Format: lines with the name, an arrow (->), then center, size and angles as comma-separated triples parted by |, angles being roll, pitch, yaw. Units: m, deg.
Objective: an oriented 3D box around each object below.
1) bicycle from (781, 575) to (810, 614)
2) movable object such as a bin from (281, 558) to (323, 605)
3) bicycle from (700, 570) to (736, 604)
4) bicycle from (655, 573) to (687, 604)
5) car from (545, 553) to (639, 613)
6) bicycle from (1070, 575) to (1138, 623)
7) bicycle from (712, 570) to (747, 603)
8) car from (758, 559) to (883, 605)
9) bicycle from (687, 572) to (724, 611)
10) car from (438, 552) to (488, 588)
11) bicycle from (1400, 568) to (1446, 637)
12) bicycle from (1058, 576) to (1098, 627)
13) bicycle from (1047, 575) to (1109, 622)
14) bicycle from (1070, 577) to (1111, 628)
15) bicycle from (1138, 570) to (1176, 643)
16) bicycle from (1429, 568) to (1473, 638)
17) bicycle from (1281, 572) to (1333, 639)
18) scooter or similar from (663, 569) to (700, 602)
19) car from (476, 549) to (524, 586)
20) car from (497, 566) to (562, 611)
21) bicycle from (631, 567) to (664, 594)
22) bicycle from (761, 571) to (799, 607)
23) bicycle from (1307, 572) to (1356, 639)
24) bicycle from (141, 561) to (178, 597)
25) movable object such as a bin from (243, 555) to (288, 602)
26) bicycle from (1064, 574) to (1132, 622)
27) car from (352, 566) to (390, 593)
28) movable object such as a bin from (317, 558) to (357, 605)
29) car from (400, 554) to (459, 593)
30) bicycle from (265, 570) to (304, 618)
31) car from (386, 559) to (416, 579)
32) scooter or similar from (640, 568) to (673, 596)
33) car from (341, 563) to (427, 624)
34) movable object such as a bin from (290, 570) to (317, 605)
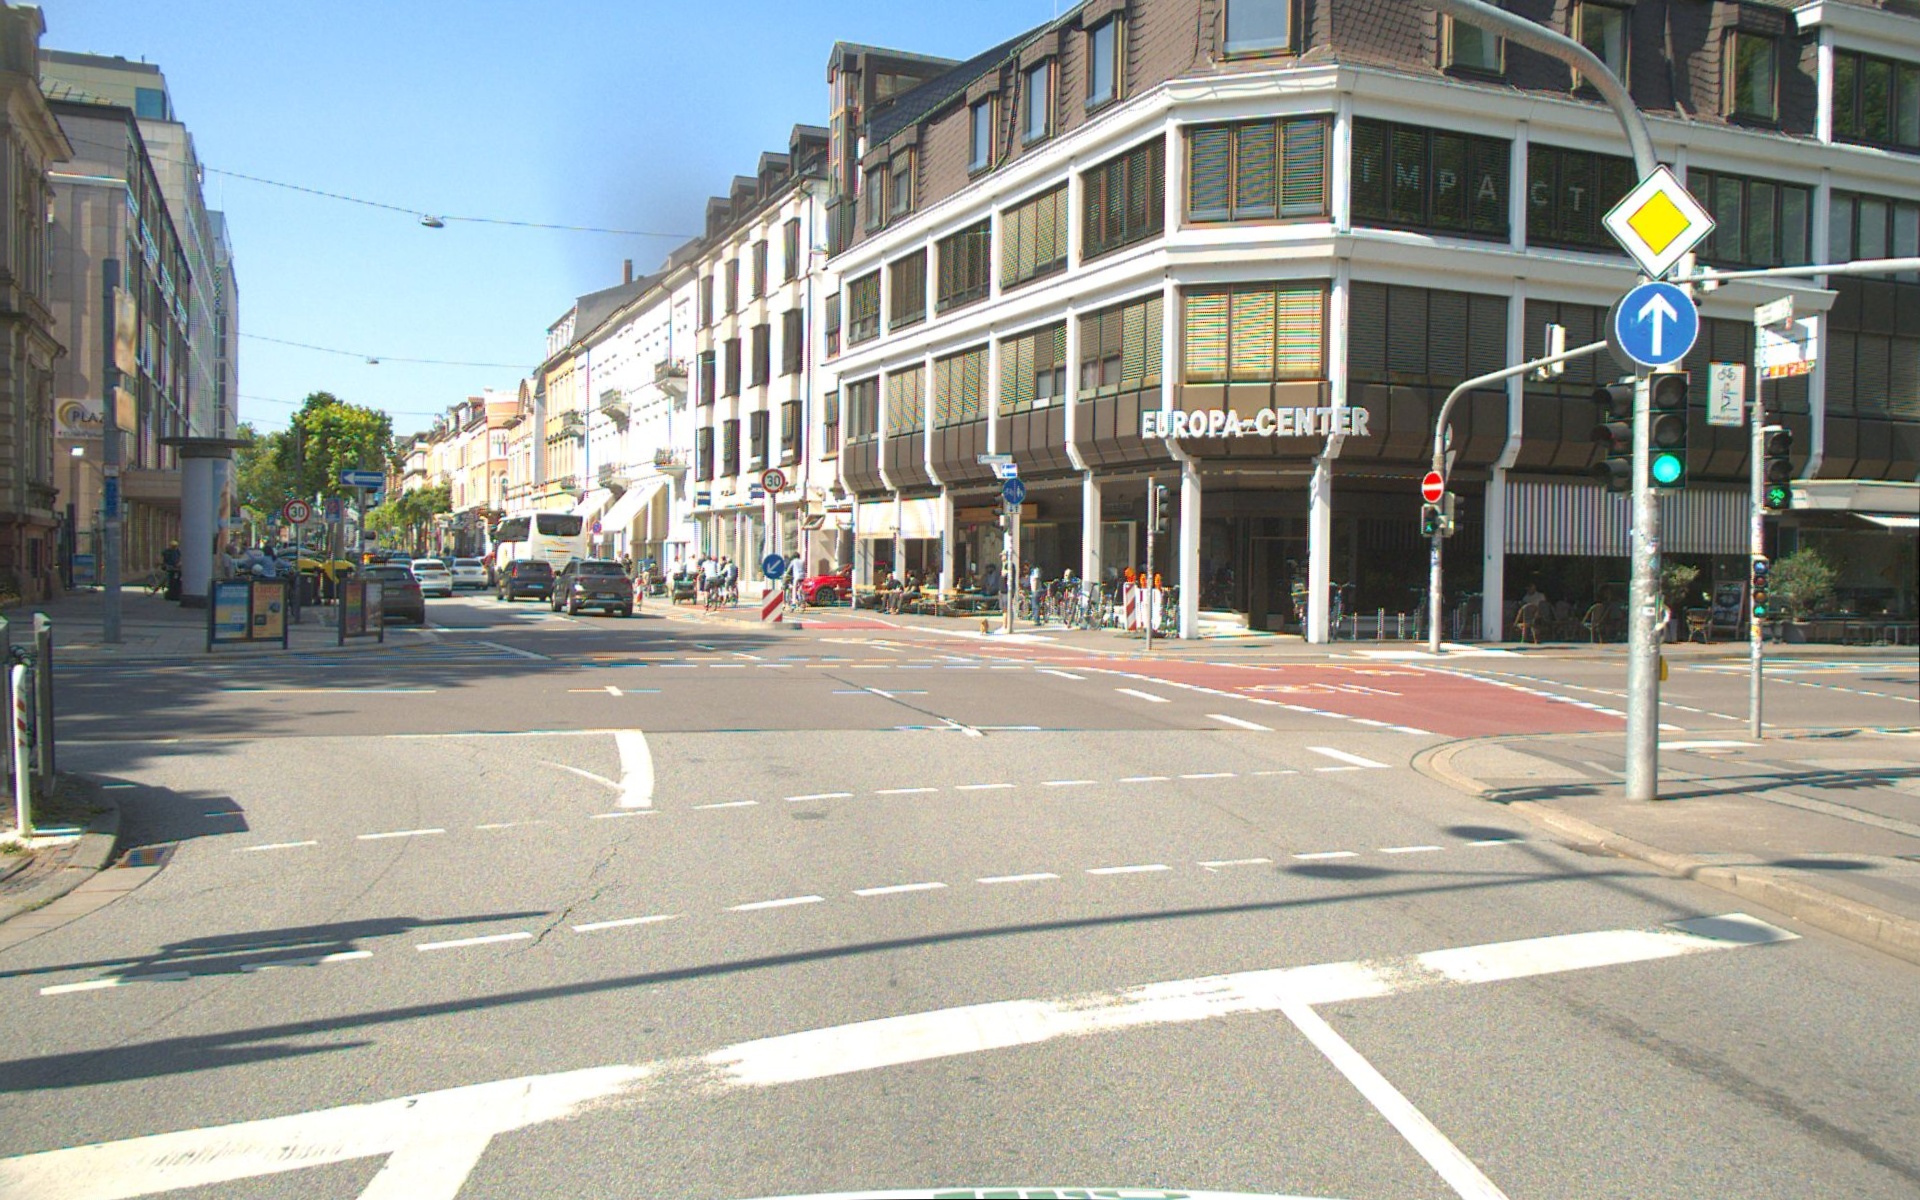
bicycle -> -4.970, -0.178, 49.914 | 0.584, 1.140, 1.794 | 0, 2, -14
movable object such as a bin -> -21.978, -0.634, 55.260 | 1.106, 1.476, 1.432 | 2, 2, -17
bicycle -> -8.232, -0.451, 56.228 | 0.612, 1.118, 2.335 | 1, 1, -24
bicycle -> -10.761, -0.446, 61.504 | 0.612, 1.118, 2.335 | 1, 1, -24
car -> -10.398, -0.484, 46.559 | 1.809, 1.554, 3.970 | 2, 0, -24
bicycle -> 3.526, -0.024, 40.494 | 1.689, 1.140, 0.276 | -1, 2, -16
bicycle -> -8.134, -0.476, 58.390 | 0.612, 1.118, 2.335 | 1, 1, -24
car -> -4.864, -0.626, 57.500 | 3.987, 1.521, 1.830 | 0, -1, -21
bicycle -> -8.294, -0.286, 53.790 | 0.655, 1.140, 2.229 | 2, 1, -22
car -> -23.168, -1.388, 77.028 | 1.808, 1.554, 3.972 | -1, 1, -23
bicycle -> 10.135, 0.036, 36.178 | 0.519, 1.447, 1.964 | 1, 2, 28
bicycle -> 2.793, 0.011, 39.348 | 0.272, 1.140, 2.235 | 0, 2, -14
bicycle -> 2.938, -0.044, 41.240 | 1.545, 1.140, 0.276 | -1, 2, -16
bicycle -> 3.099, 0.052, 39.493 | 0.272, 1.140, 2.235 | 0, 2, -14
bicycle -> 4.433, 0.138, 37.185 | 0.368, 1.076, 1.481 | 0, 26, 23
bicycle -> 10.685, 0.044, 35.973 | 0.519, 1.447, 1.964 | 1, 2, 28
bicycle -> 7.425, 0.101, 35.335 | 0.519, 1.339, 1.964 | 1, 2, 28
scooter or similar -> -10.041, -0.516, 59.596 | 0.949, 1.155, 1.573 | 1, 1, -25
car -> -25.546, -1.826, 91.729 | 1.804, 1.896, 4.319 | 2, 1, -26
car -> -15.593, -0.409, 59.812 | 1.807, 1.554, 3.975 | -1, 1, -21
bicycle -> -12.998, -0.821, 68.742 | 0.827, 1.118, 2.335 | 1, 1, -24
bicycle -> -5.797, -0.354, 53.101 | 0.611, 1.118, 2.337 | 1, 1, -22
bicycle -> 7.902, 0.099, 35.135 | 0.519, 1.339, 1.856 | 1, 2, 28
bicycle -> -24.744, -0.647, 51.098 | 0.486, 1.080, 1.996 | 0, 1, -42
movable object such as a bin -> -23.105, -0.733, 55.033 | 1.189, 1.476, 1.358 | 2, 2, -17
bicycle -> 3.417, -0.047, 40.874 | 1.689, 1.140, 0.276 | -1, 2, -16
car -> -33.431, -1.153, 93.843 | 1.838, 1.466, 3.972 | 0, 0, -23
movable object such as a bin -> -20.917, -0.637, 55.595 | 1.106, 1.476, 1.432 | 2, 2, -17
car -> -20.928, -1.029, 65.118 | 1.838, 1.466, 3.971 | 1, 1, -23
bicycle -> -16.683, -0.129, 40.887 | 0.422, 1.140, 2.237 | 2, -1, -11
car -> -41.347, -2.297, 122.195 | 1.838, 1.466, 3.973 | 0, 2, -23
scooter or similar -> -12.330, -0.740, 67.168 | 1.106, 1.121, 1.077 | 1, 1, -24
car -> -14.274, -0.194, 40.878 | 1.909, 1.378, 4.223 | 0, 2, -21
movable object such as a bin -> -21.380, -0.412, 53.878 | 0.715, 1.117, 0.650 | 2, 2, -30
